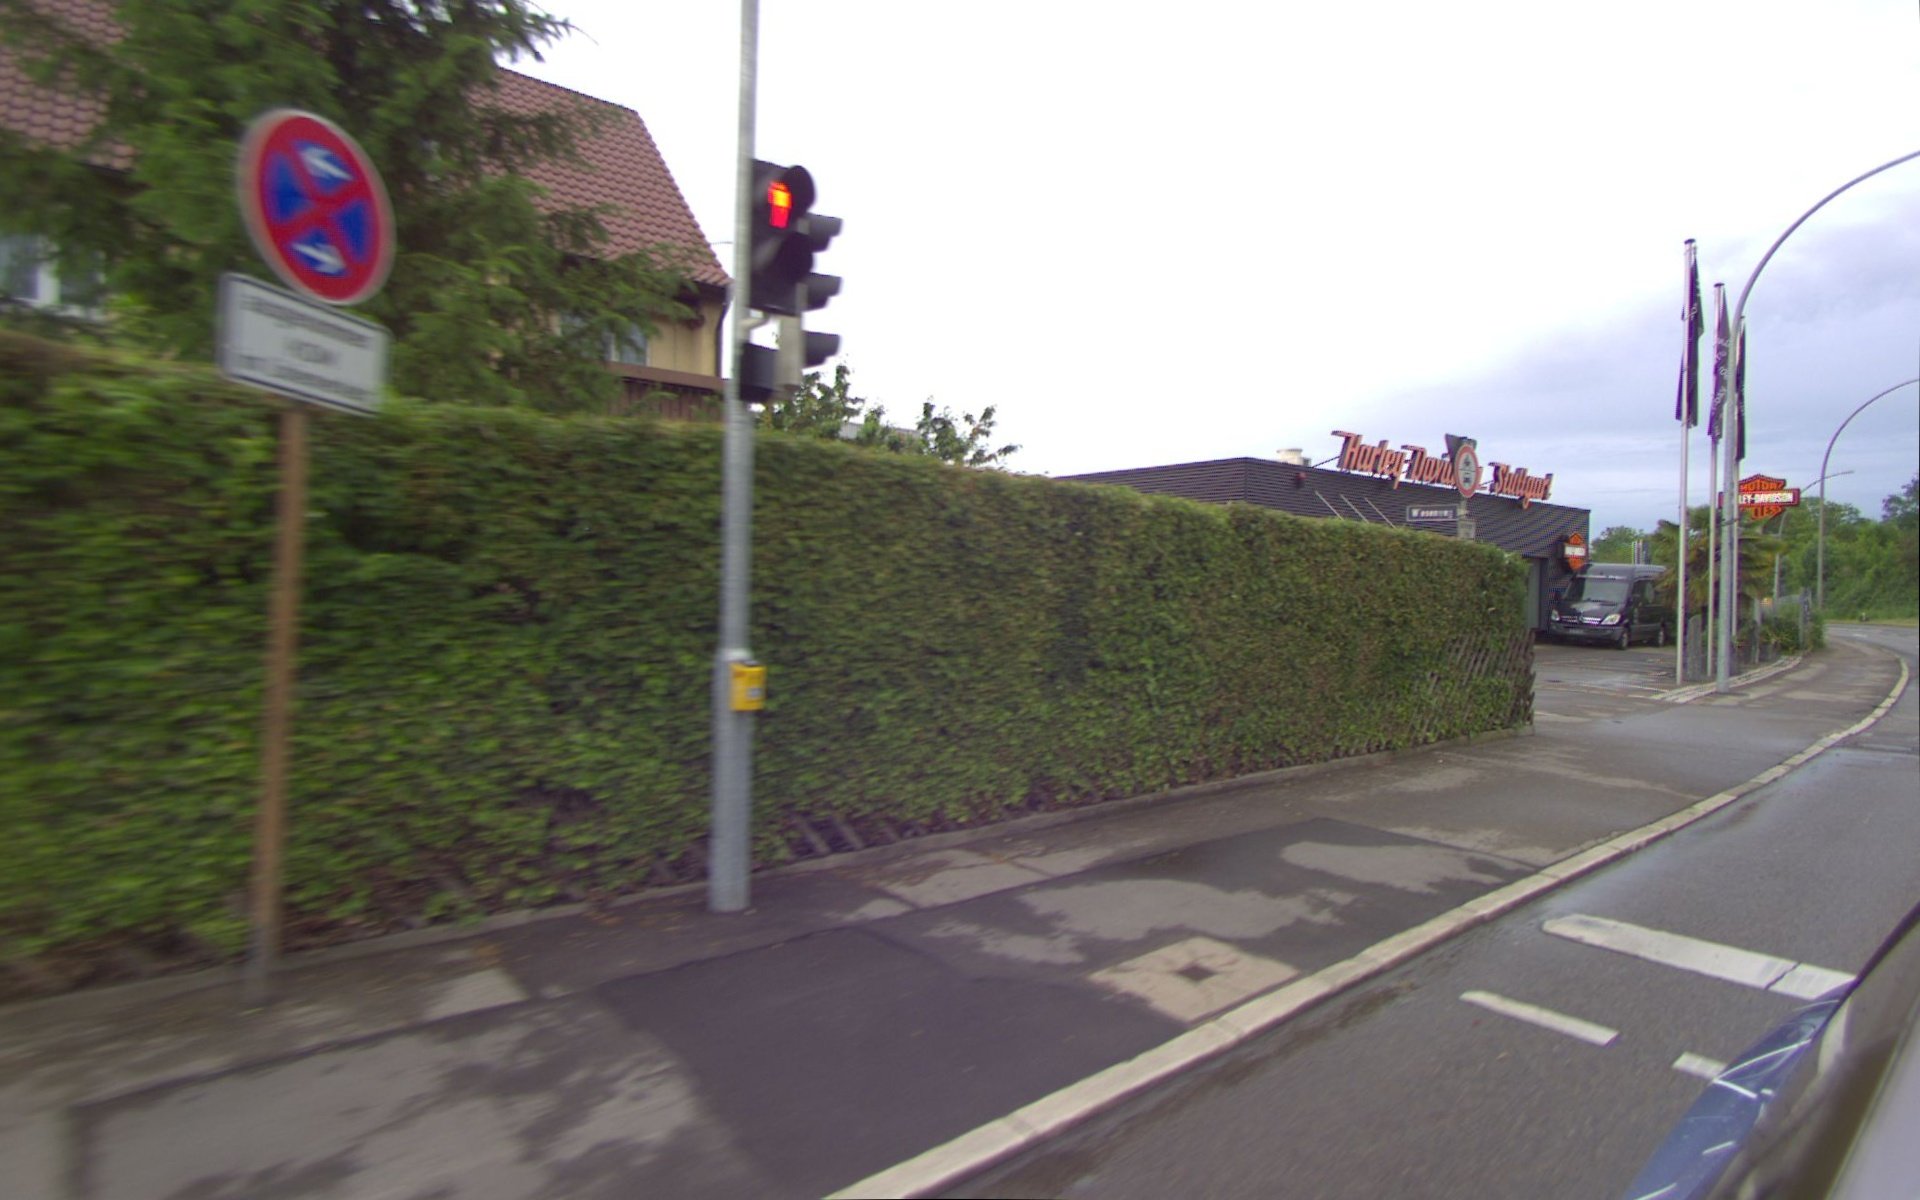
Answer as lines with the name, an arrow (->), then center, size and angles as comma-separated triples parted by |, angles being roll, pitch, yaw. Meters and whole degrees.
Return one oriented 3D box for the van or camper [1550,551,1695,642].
van or camper -> 21.044, -0.103, 32.012 | 6.472, 2.626, 2.045 | 1, 1, -40
